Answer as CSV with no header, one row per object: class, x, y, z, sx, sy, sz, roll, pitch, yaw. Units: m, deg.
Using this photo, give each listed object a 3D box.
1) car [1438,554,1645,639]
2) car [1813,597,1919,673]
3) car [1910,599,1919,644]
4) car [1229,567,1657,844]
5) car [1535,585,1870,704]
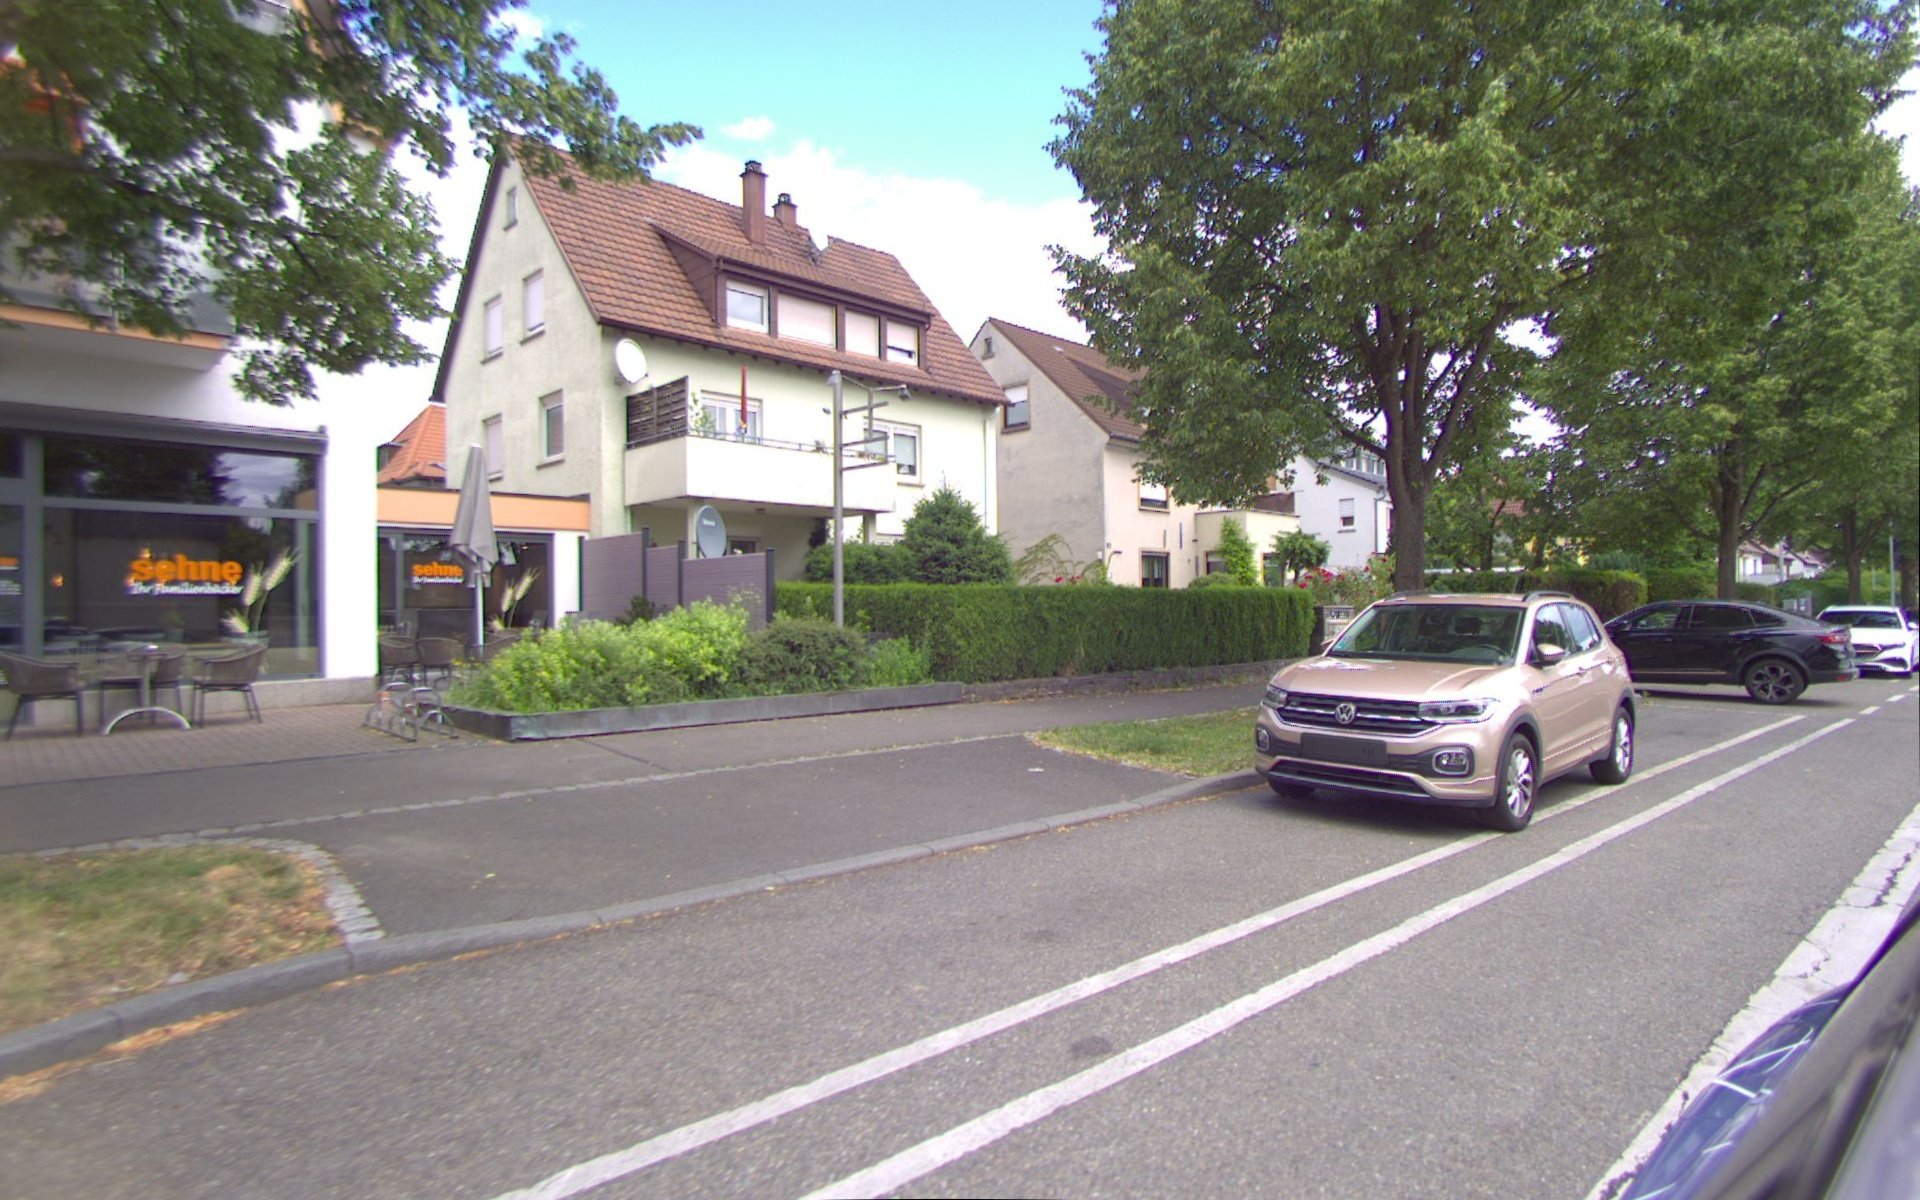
car,19.361,-0.086,33.933,5.715,2.625,1.965,0,-1,45
car,20.182,0.684,22.119,4.731,1.493,1.807,0,0,-43
car,32.282,0.700,32.943,4.105,1.434,1.655,0,1,-42
car,3.914,0.611,7.872,3.993,1.600,1.723,0,0,-44
car,11.899,0.615,16.413,4.217,1.658,1.666,1,0,44
